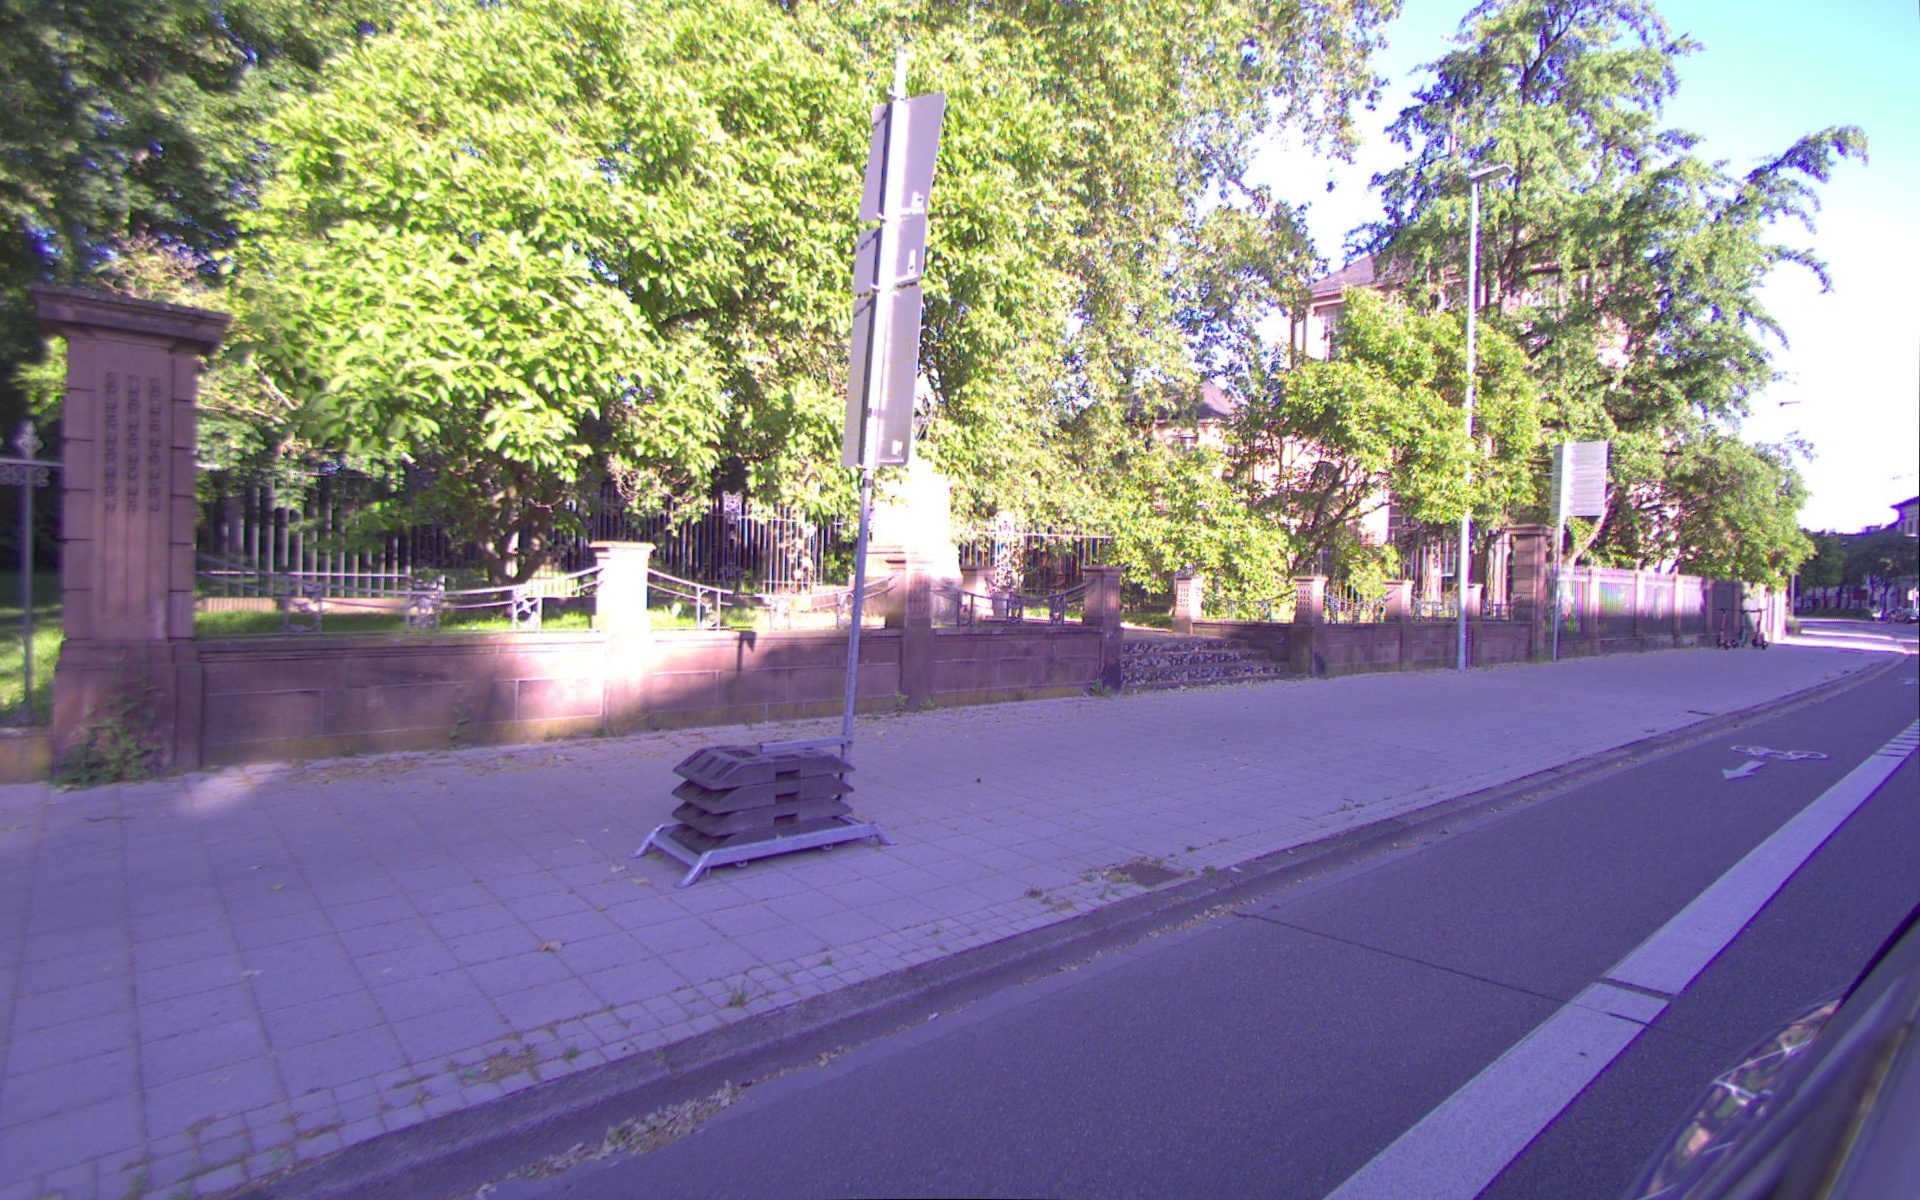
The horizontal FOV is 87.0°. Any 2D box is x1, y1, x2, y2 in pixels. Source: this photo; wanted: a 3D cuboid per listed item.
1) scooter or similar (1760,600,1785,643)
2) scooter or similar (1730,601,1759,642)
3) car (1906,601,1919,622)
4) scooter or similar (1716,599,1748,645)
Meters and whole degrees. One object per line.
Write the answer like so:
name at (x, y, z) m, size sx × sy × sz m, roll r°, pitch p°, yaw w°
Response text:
scooter or similar at (24.722, 0.640, 30.799) m, size 0.514 × 1.255 × 1.502 m, roll 2°, pitch 2°, yaw 37°
scooter or similar at (23.622, 0.629, 30.450) m, size 0.574 × 1.199 × 1.465 m, roll 3°, pitch 2°, yaw 41°
car at (90.608, 1.106, 95.233) m, size 3.930 × 1.905 × 1.866 m, roll 0°, pitch 1°, yaw -41°
scooter or similar at (22.274, 0.612, 29.226) m, size 0.572 × 1.269 × 1.470 m, roll 2°, pitch 2°, yaw 33°
